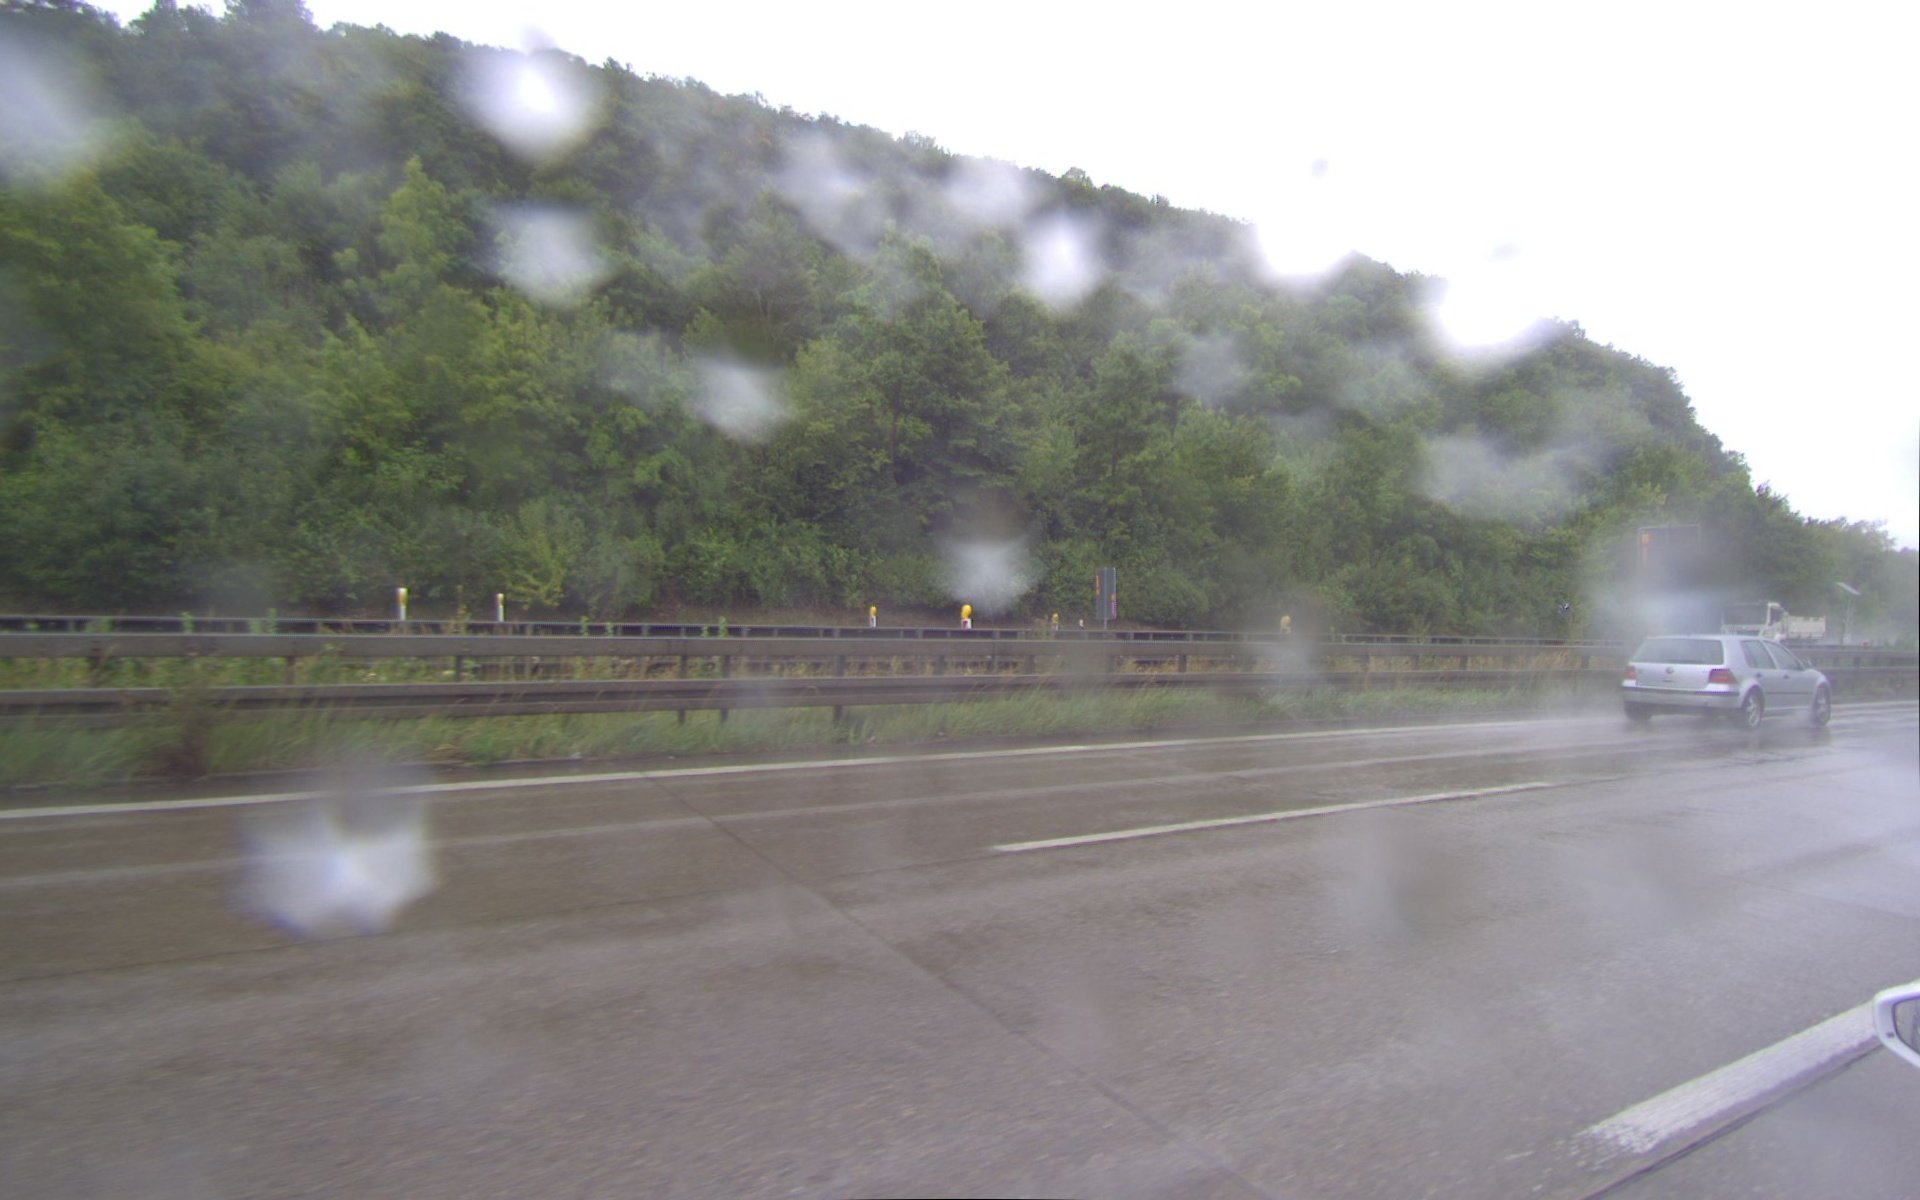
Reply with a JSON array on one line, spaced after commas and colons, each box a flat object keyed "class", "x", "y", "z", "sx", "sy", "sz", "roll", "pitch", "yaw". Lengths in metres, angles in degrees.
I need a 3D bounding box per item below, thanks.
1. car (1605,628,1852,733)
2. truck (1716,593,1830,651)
[{"class": "car", "x": 12.455, "y": 1.236, "z": 16.217, "sx": 4.299, "sy": 1.453, "sz": 1.659, "roll": 2, "pitch": 0, "yaw": -30}, {"class": "truck", "x": 45.410, "y": 1.263, "z": 56.008, "sx": 7.829, "sy": 3.059, "sz": 2.286, "roll": 2, "pitch": 0, "yaw": -30}]
